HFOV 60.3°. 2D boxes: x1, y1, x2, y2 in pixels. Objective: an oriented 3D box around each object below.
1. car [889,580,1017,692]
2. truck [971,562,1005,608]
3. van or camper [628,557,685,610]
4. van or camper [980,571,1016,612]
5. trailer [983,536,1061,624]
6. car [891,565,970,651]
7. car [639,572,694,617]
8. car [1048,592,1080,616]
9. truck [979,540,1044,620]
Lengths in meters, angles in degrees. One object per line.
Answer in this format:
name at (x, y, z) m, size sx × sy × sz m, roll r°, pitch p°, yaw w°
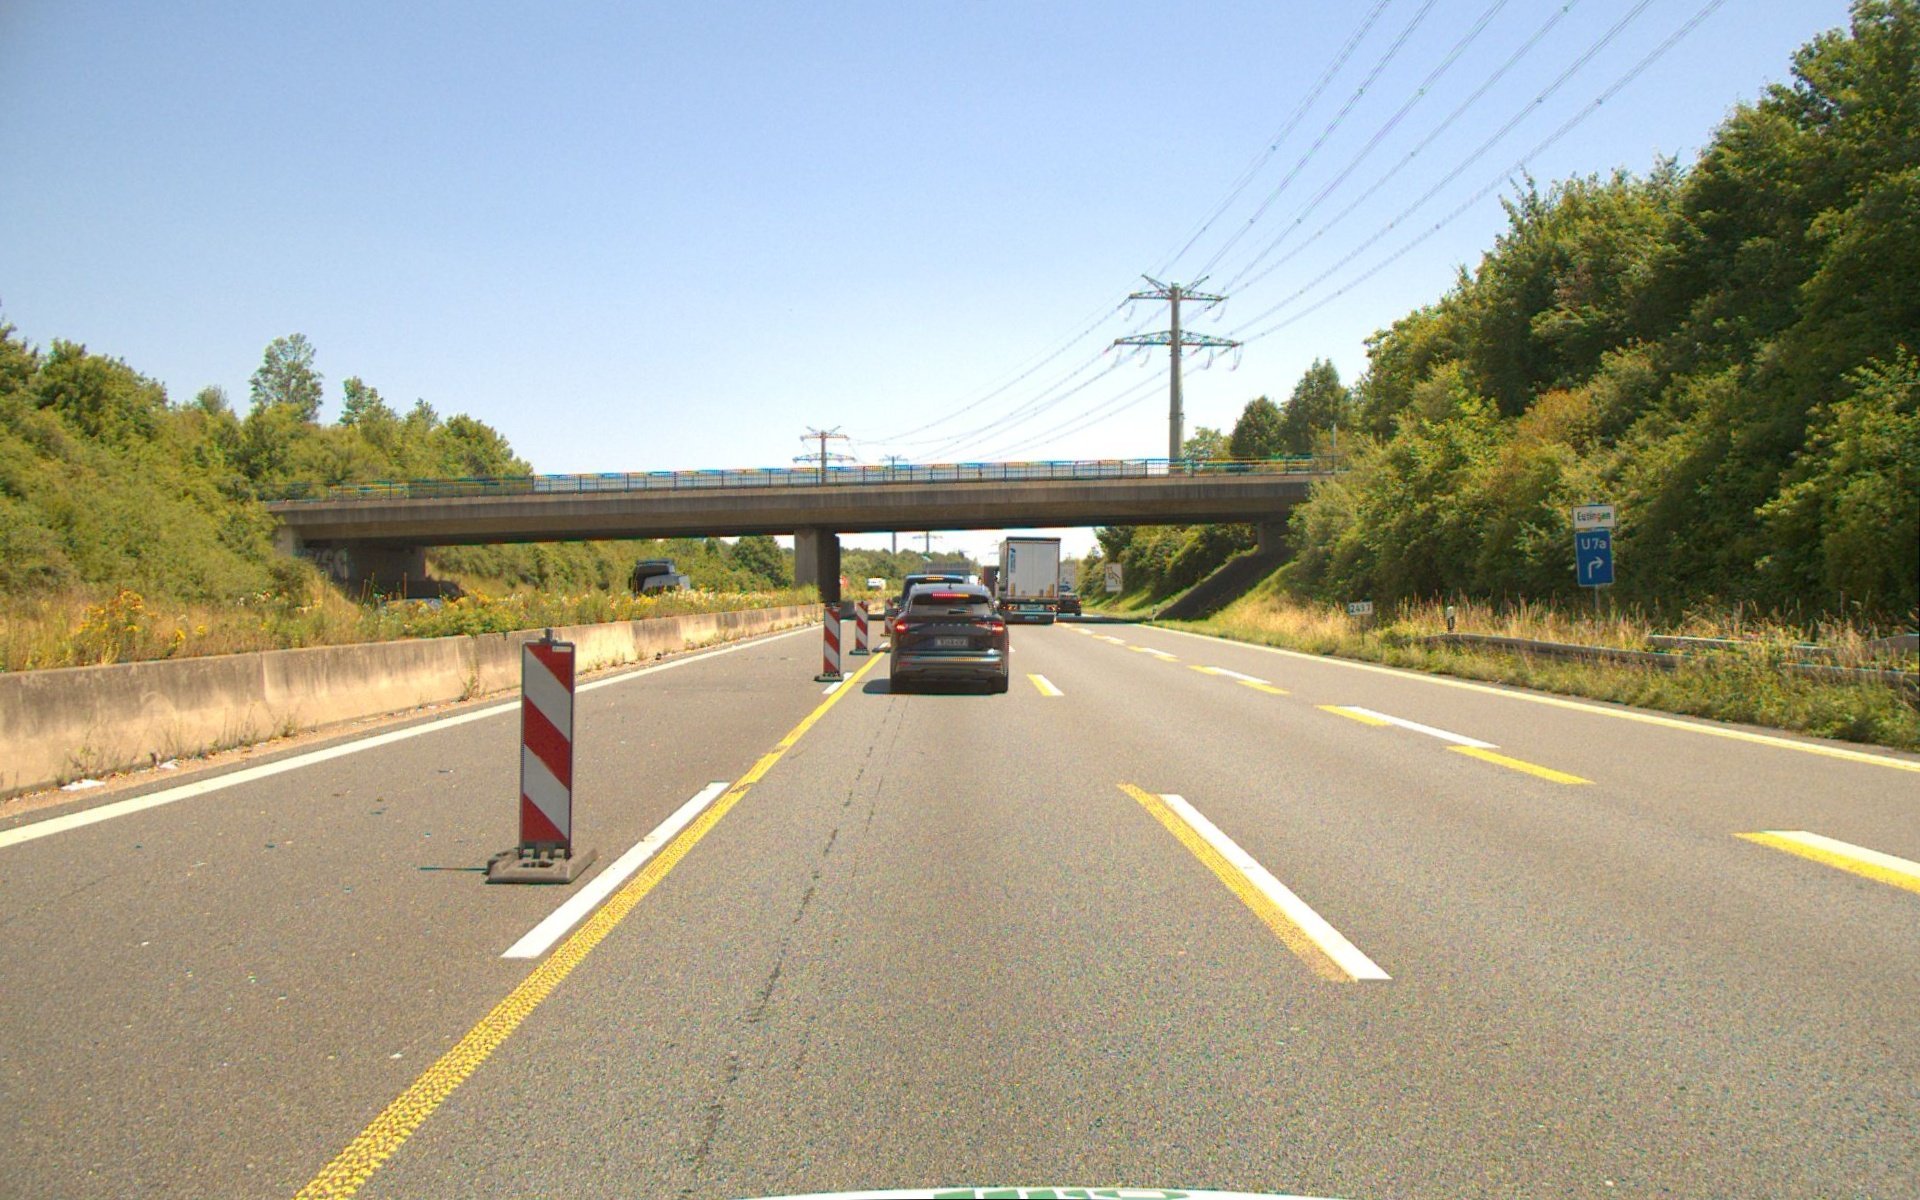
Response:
car at (-0.173, 0.492, 26.177) m, size 1.857 × 1.619 × 4.441 m, roll 0°, pitch 1°, yaw -2°
truck at (2.670, -1.397, 160.793) m, size 3.015 × 4.219 × 13.054 m, roll 1°, pitch 0°, yaw 0°
van or camper at (-19.256, -1.032, 105.297) m, size 2.517 × 3.242 × 6.231 m, roll 1°, pitch 0°, yaw -1°
van or camper at (2.852, -0.666, 125.151) m, size 2.534 × 3.020 × 6.084 m, roll 0°, pitch 1°, yaw -1°
trailer at (2.982, -0.970, 82.974) m, size 3.003 × 4.113 × 11.482 m, roll 0°, pitch 0°, yaw -2°
car at (-0.794, 0.155, 42.439) m, size 1.857 × 1.873 × 4.442 m, roll 2°, pitch 3°, yaw -2°
car at (-15.479, -0.308, 87.506) m, size 2.070 × 2.236 × 5.310 m, roll 2°, pitch 0°, yaw -2°
car at (6.882, 0.245, 109.928) m, size 1.743 × 1.515 × 4.463 m, roll 1°, pitch 0°, yaw -1°
truck at (2.724, -1.081, 89.808) m, size 2.964 × 4.158 × 7.792 m, roll 0°, pitch 0°, yaw -2°
